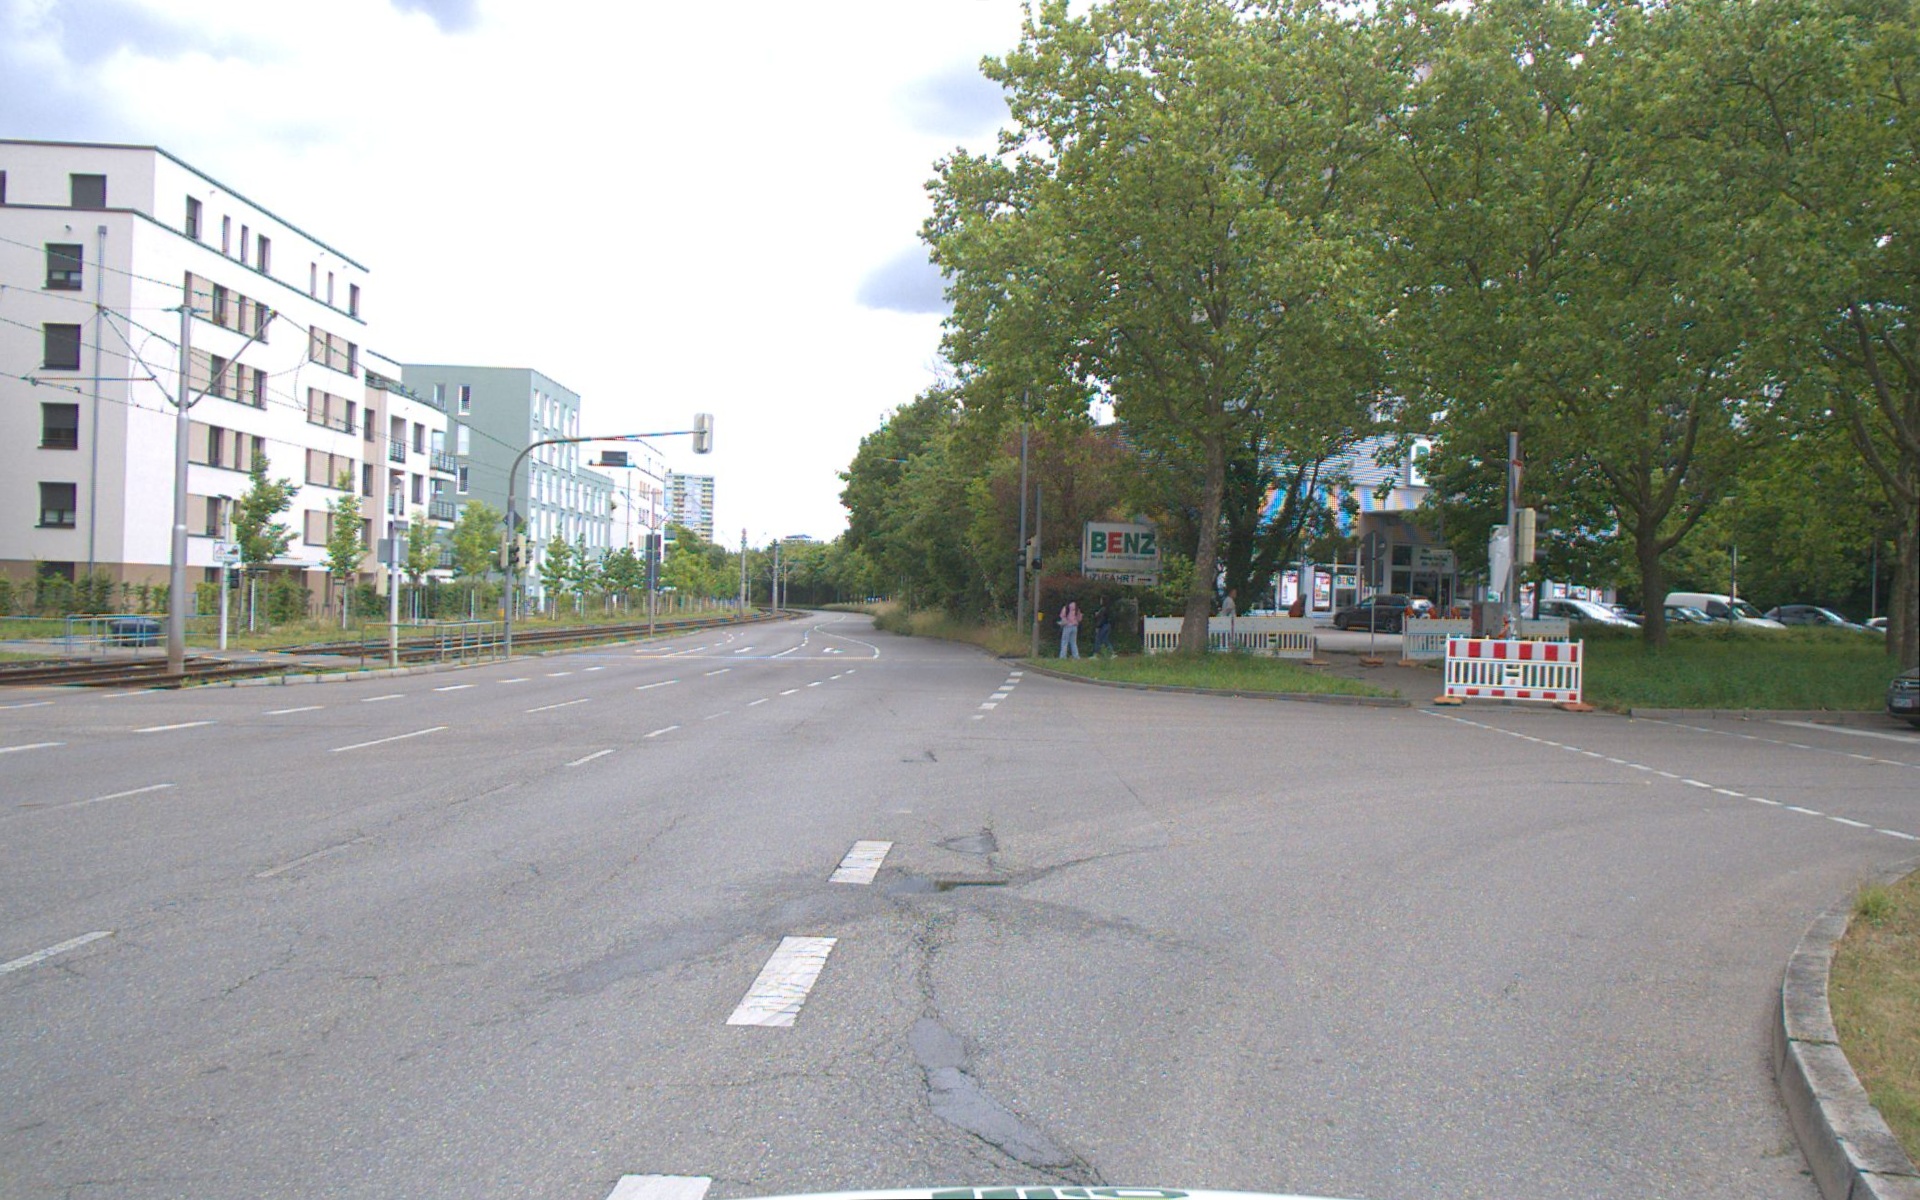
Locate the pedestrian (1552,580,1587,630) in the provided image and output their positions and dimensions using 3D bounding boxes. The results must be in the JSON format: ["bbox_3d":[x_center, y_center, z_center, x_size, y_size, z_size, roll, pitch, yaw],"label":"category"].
[{"bbox_3d":[20.153,0.160,54.691,0.778,1.614,0.798,1,-1,-7],"label":"pedestrian"}]

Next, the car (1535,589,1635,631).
[{"bbox_3d":[26.351,0.413,69.848,1.649,1.663,3.785,2,0,-29],"label":"car"}]

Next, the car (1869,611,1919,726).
[{"bbox_3d":[15.622,1.007,23.609,4.306,1.614,1.773,1,-1,2],"label":"car"}]

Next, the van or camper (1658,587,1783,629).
[{"bbox_3d":[25.992,0.269,56.624,1.498,1.380,3.734,2,-1,-31],"label":"van or camper"}]

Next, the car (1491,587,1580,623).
[{"bbox_3d":[23.722,0.205,68.226,1.464,1.429,3.375,2,-1,-29],"label":"car"}]

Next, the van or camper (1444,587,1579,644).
[{"bbox_3d":[17.301,0.452,52.077,1.818,1.713,3.966,0,0,-26],"label":"van or camper"}]

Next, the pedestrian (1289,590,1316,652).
[{"bbox_3d":[8.777,0.542,42.437,0.639,1.566,0.773,1,-1,11],"label":"pedestrian"}]

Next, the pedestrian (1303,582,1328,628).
[{"bbox_3d":[13.759,0.192,64.030,0.611,1.776,0.733,2,-1,-27],"label":"pedestrian"}]

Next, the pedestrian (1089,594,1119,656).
[{"bbox_3d":[3.619,0.626,41.471,0.682,1.515,0.721,1,-1,8],"label":"pedestrian"}]

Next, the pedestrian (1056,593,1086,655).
[{"bbox_3d":[2.759,0.597,41.126,0.682,1.515,0.688,1,-1,7],"label":"pedestrian"}]

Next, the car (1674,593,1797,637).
[{"bbox_3d":[27.538,0.545,58.804,1.464,1.491,3.854,2,-1,-29],"label":"car"}]

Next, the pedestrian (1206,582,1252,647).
[{"bbox_3d":[6.820,0.368,41.964,0.837,1.614,0.790,1,-1,-24],"label":"pedestrian"}]

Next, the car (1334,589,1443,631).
[{"bbox_3d":[16.161,0.376,62.613,1.706,1.526,4.234,1,-1,-25],"label":"car"}]

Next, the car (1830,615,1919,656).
[{"bbox_3d":[36.342,1.386,64.841,1.706,1.526,3.715,1,-1,-25],"label":"car"}]
